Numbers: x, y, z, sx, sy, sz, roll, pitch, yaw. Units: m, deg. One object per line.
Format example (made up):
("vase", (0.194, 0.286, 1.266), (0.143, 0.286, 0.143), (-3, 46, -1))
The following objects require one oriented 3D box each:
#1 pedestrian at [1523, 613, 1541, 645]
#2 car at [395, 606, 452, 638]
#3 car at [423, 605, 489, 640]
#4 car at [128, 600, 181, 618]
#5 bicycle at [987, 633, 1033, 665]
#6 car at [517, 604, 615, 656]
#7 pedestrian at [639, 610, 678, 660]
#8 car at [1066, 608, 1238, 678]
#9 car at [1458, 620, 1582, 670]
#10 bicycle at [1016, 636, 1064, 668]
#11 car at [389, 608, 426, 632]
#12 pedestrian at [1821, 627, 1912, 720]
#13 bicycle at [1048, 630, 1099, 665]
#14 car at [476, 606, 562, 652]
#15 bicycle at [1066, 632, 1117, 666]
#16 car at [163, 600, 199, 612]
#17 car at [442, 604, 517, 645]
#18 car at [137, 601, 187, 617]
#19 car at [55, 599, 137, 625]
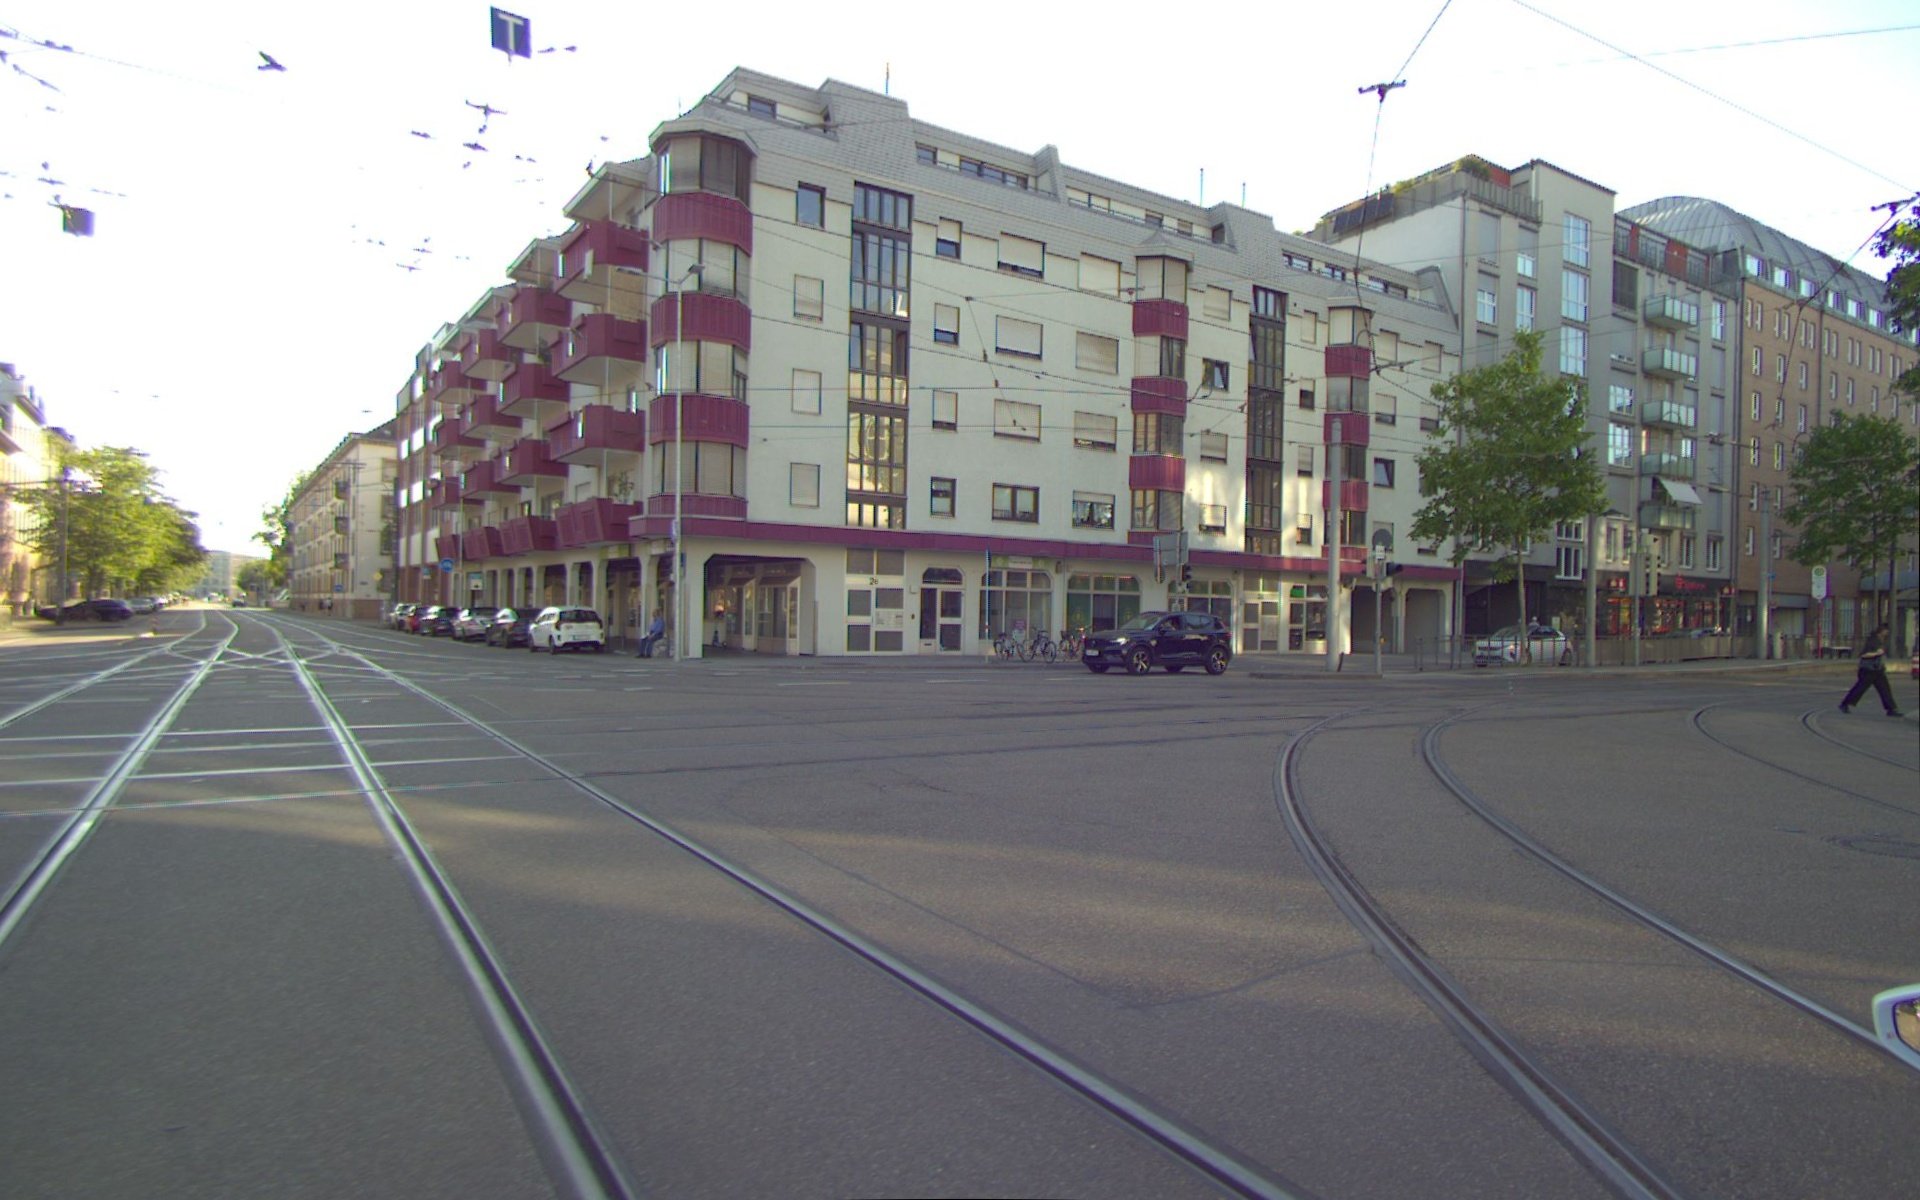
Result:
("pedestrian", (27.379, 1.373, 48.103), (0.581, 1.514, 0.531), (1, -1, -32))
("car", (-28.819, 1.165, 53.885), (1.982, 1.576, 4.536), (1, -1, -37))
("car", (-23.845, 1.028, 47.422), (1.982, 1.576, 4.536), (1, -1, -37))
("car", (-71.882, 0.799, 89.677), (3.515, 1.420, 1.683), (2, 1, -35))
("bicycle", (1.482, 1.468, 30.283), (0.546, 0.865, 1.836), (1, -1, -26))
("car", (-12.937, 0.938, 32.868), (1.982, 1.576, 3.957), (1, -1, -37))
("pedestrian", (-8.846, 1.018, 29.444), (0.830, 1.402, 0.849), (1, -1, -40))
("car", (5.068, 1.102, 26.389), (4.210, 1.695, 1.945), (1, -1, -30))
("car", (19.618, 1.556, 35.156), (4.210, 1.616, 1.945), (1, -1, -30))
("bicycle", (2.387, 1.547, 30.118), (0.546, 0.865, 1.836), (1, -1, -26))
("car", (-31.761, 1.130, 57.710), (1.447, 1.351, 3.150), (1, -1, -36))
("pedestrian", (16.042, 1.269, 17.784), (0.687, 1.565, 1.040), (1, -1, -32))
("bicycle", (3.464, 1.453, 30.775), (0.547, 0.998, 1.833), (1, -1, -31))
("car", (-16.307, 1.044, 37.045), (1.982, 1.576, 4.079), (1, -1, -37))
("bicycle", (4.039, 1.497, 30.973), (0.547, 0.998, 1.833), (1, -1, -31))
("car", (-99.701, 0.741, 128.639), (3.515, 1.420, 1.683), (2, 1, -35))
("car", (-20.148, 0.993, 42.013), (1.982, 1.576, 4.536), (1, -1, -37))
("car", (-73.415, 0.811, 92.445), (3.515, 1.420, 1.683), (1, -1, -35))
("car", (-56.462, 0.783, 65.764), (3.966, 1.595, 1.978), (2, -1, -39))
